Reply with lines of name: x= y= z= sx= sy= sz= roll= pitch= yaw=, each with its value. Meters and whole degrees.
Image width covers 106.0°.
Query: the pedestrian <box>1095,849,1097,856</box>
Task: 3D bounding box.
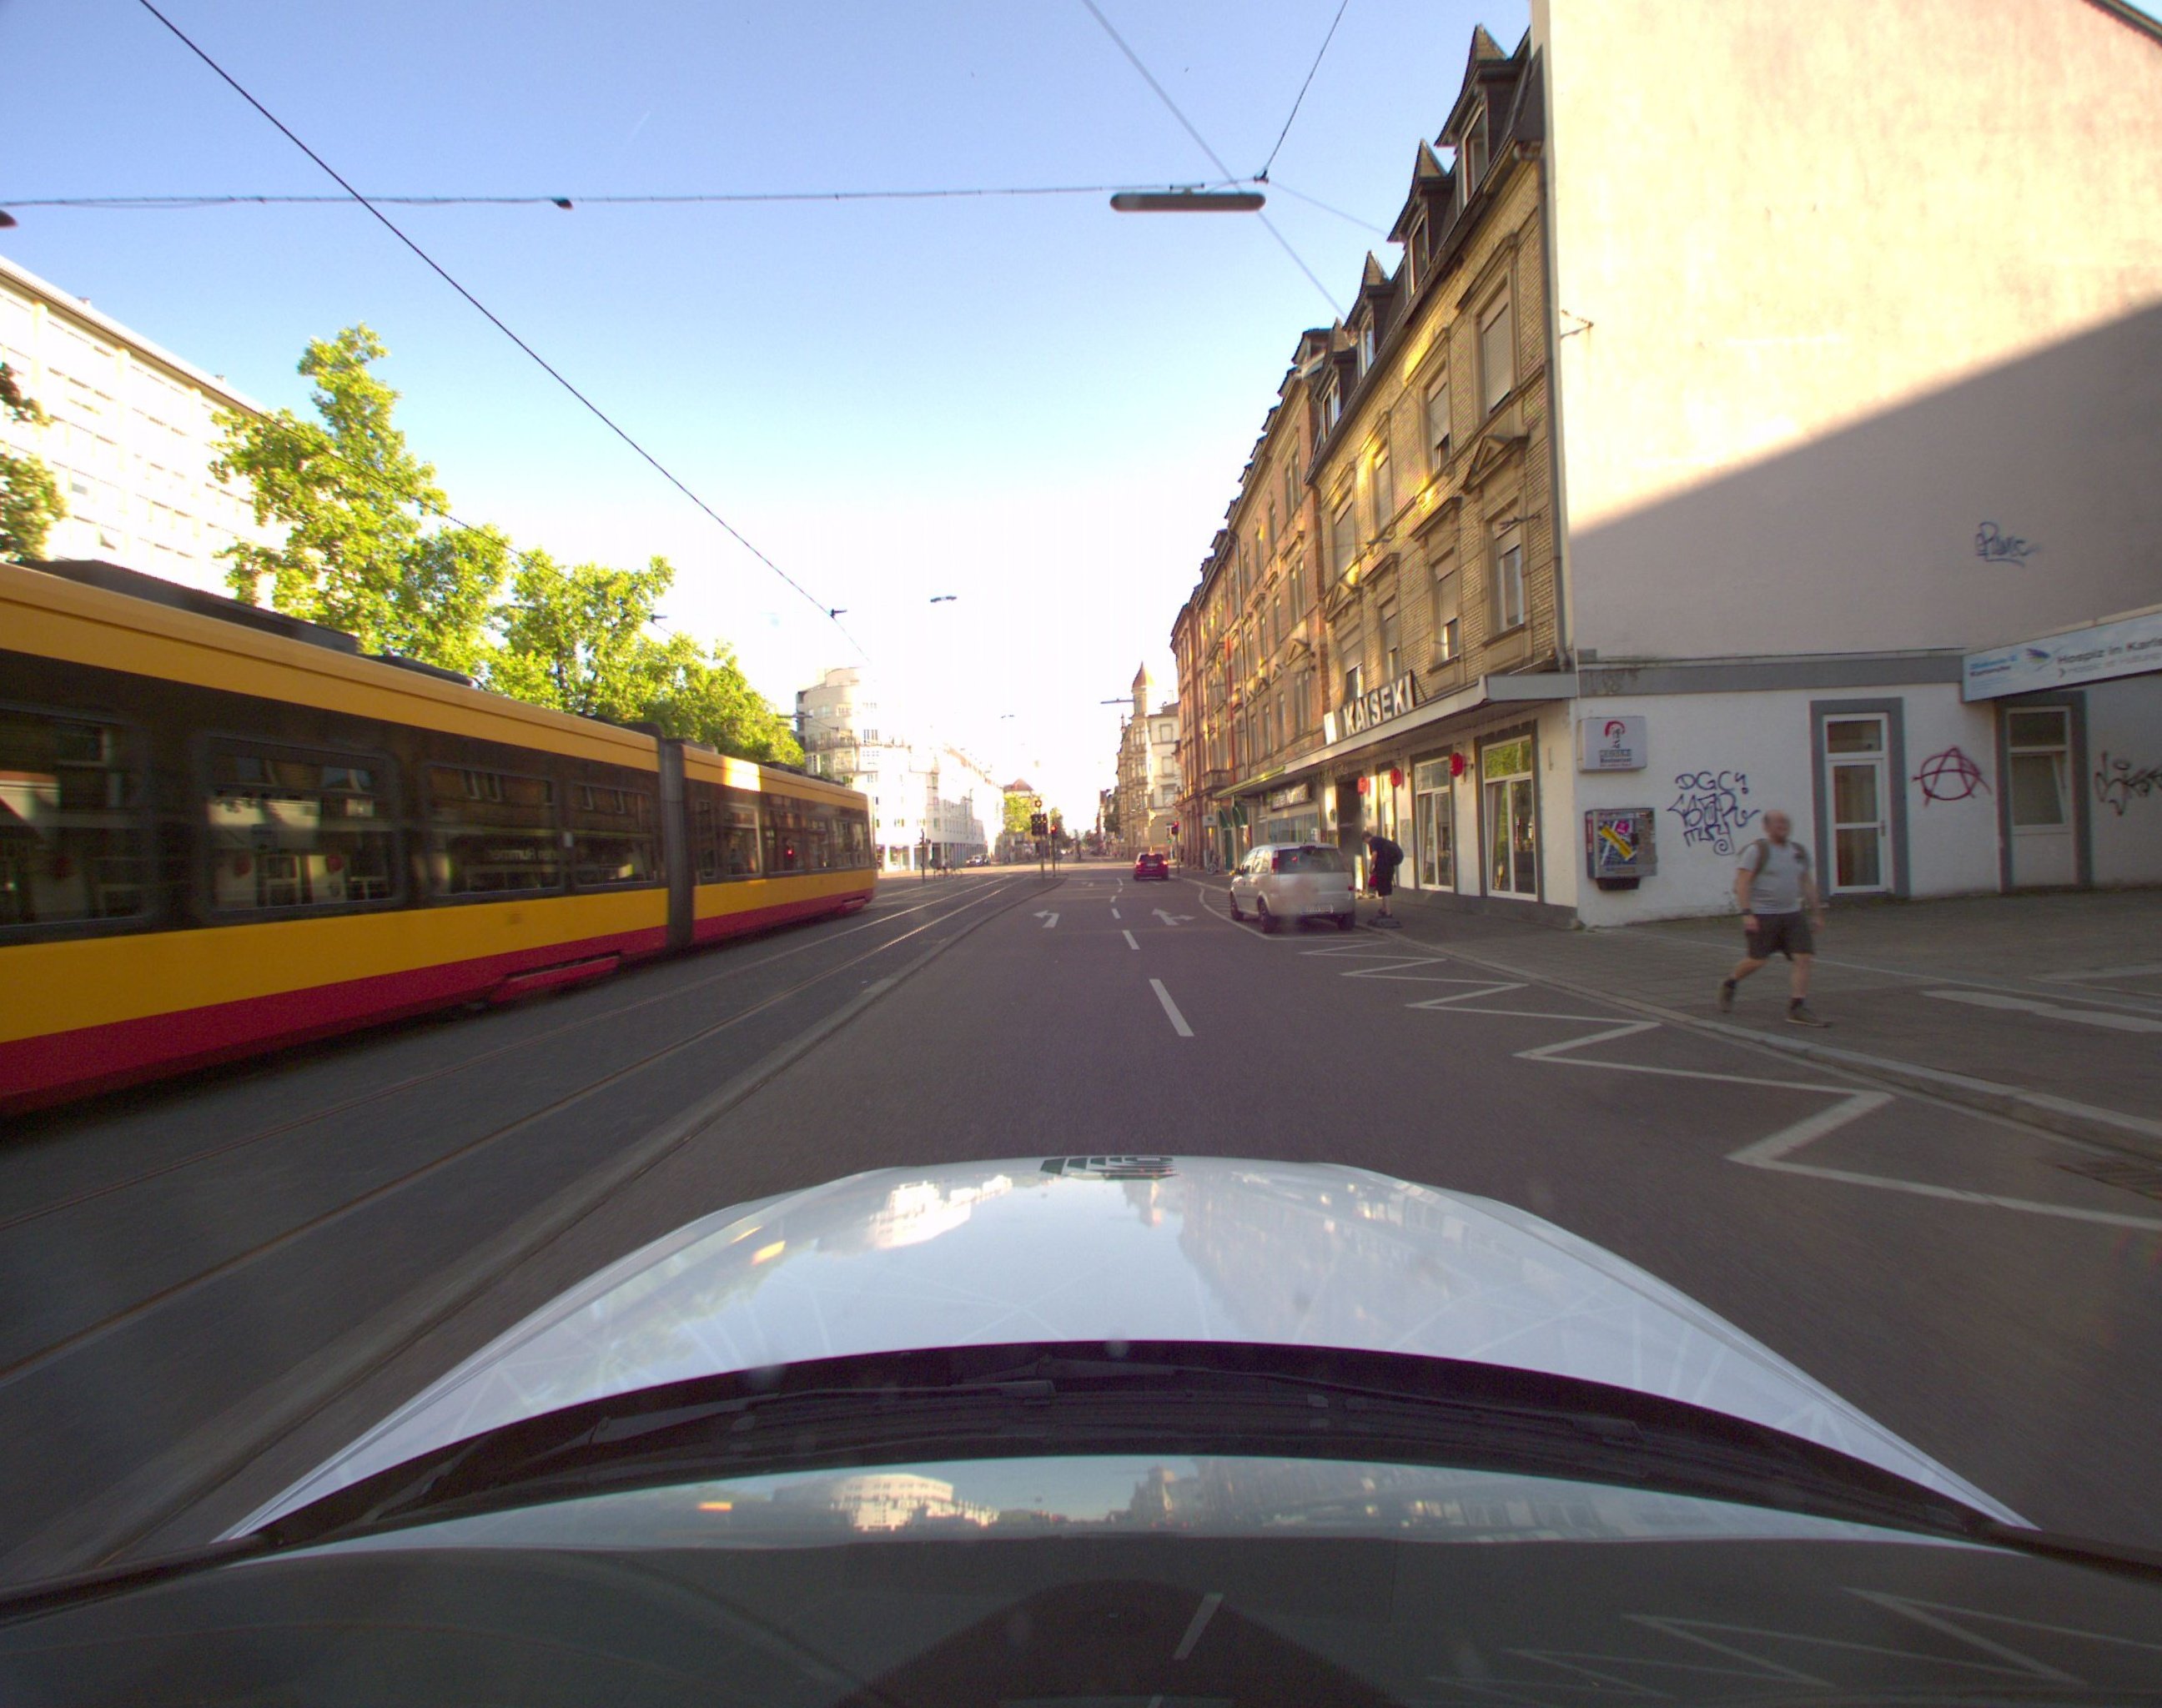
pedestrian: x=4.463 y=-0.435 z=241.132 sx=0.575 sy=1.887 sz=0.669 roll=-2 pitch=0 yaw=0

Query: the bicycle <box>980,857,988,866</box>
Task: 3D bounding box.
bicycle: x=-13.400 y=1.064 z=112.834 sx=0.805 sy=1.147 sz=2.049 roll=-2 pitch=0 yaw=0

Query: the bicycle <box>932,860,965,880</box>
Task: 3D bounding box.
bicycle: x=-8.382 y=0.997 z=51.547 sx=2.018 sy=1.177 sz=0.626 roll=-2 pitch=-1 yaw=-10

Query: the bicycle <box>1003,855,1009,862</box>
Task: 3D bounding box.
bicycle: x=-13.187 y=0.740 z=142.824 sx=0.805 sy=1.147 sz=2.010 roll=-2 pitch=0 yaw=1

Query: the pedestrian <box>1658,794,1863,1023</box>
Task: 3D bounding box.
pedestrian: x=5.678 y=0.429 z=6.877 sx=0.785 sy=1.737 sz=0.945 roll=-5 pitch=-1 yaw=-1

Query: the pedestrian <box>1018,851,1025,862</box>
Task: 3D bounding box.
pedestrian: x=-10.345 y=0.419 z=142.340 sx=1.042 sy=2.013 sz=0.958 roll=-2 pitch=0 yaw=-2

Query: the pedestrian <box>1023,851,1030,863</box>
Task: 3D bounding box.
pedestrian: x=-9.692 y=0.487 z=144.280 sx=1.042 sy=2.013 sz=0.958 roll=-2 pitch=0 yaw=-2

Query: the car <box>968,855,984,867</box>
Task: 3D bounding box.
car: x=-15.181 y=0.967 z=117.678 sx=1.759 sy=1.546 sz=3.462 roll=-2 pitch=0 yaw=1

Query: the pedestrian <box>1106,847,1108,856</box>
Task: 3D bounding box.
pedestrian: x=6.363 y=-0.570 z=198.527 sx=0.575 sy=2.013 sz=0.631 roll=-2 pitch=0 yaw=1

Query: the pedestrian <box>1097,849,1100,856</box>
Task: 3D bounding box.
pedestrian: x=4.974 y=-0.521 z=233.071 sx=0.575 sy=1.887 sz=0.631 roll=-2 pitch=0 yaw=1

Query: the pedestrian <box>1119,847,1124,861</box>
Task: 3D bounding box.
pedestrian: x=5.726 y=0.007 z=115.659 sx=0.649 sy=2.013 sz=0.759 roll=-2 pitch=0 yaw=-1

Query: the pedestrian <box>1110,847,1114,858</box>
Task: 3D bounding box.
pedestrian: x=5.947 y=-0.333 z=156.192 sx=0.574 sy=2.013 sz=0.632 roll=-2 pitch=0 yaw=6

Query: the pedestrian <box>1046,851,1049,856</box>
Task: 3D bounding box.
pedestrian: x=-9.555 y=-0.140 z=234.458 sx=0.630 sy=1.604 sz=0.576 roll=-2 pitch=0 yaw=-16

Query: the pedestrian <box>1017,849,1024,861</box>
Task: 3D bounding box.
pedestrian: x=-10.226 y=0.155 z=138.035 sx=0.953 sy=2.013 sz=1.048 roll=-2 pitch=0 yaw=0

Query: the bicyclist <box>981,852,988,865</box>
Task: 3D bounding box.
bicyclist: x=-13.414 y=0.641 z=113.027 sx=0.805 sy=1.726 sz=0.794 roll=-2 pitch=0 yaw=1

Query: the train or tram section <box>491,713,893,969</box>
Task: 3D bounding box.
train or tram section: x=-7.057 y=-0.173 z=18.111 sx=2.667 sy=3.551 sz=12.838 roll=-3 pitch=0 yaw=0

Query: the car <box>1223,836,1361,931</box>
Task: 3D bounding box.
car: x=4.032 y=0.509 z=16.209 sx=1.633 sy=1.615 sz=3.943 roll=-1 pitch=0 yaw=-1

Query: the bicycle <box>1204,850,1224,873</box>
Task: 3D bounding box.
bicycle: x=7.180 y=0.406 z=44.013 sx=0.709 sy=1.152 sz=1.663 roll=-4 pitch=0 yaw=19

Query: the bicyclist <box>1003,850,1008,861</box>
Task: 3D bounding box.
bicyclist: x=-13.201 y=0.278 z=142.740 sx=0.805 sy=1.821 sz=0.993 roll=-2 pitch=0 yaw=0

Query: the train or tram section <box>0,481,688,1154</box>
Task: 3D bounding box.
train or tram section: x=-7.020 y=-0.151 z=6.074 sx=2.667 sy=3.551 sz=11.124 roll=-3 pitch=0 yaw=0

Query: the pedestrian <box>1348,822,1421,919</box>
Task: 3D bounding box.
pedestrian: x=5.942 y=0.310 z=16.024 sx=0.943 sy=1.792 sz=1.054 roll=-3 pitch=0 yaw=-1

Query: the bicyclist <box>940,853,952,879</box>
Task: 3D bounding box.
bicyclist: x=-8.466 y=0.765 z=51.140 sx=0.729 sy=1.627 sz=0.763 roll=-2 pitch=-1 yaw=-10

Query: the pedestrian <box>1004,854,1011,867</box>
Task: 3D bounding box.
pedestrian: x=-9.939 y=0.863 z=110.387 sx=0.765 sy=1.730 sz=0.573 roll=-2 pitch=0 yaw=2

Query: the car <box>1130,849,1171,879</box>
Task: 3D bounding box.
car: x=3.591 y=0.491 z=42.689 sx=1.749 sy=1.466 sz=3.943 roll=-1 pitch=0 yaw=-1

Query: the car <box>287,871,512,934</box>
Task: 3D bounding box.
car: x=-17.682 y=1.198 z=21.430 sx=4.283 sy=1.429 sz=1.749 roll=0 pitch=-1 yaw=-31
